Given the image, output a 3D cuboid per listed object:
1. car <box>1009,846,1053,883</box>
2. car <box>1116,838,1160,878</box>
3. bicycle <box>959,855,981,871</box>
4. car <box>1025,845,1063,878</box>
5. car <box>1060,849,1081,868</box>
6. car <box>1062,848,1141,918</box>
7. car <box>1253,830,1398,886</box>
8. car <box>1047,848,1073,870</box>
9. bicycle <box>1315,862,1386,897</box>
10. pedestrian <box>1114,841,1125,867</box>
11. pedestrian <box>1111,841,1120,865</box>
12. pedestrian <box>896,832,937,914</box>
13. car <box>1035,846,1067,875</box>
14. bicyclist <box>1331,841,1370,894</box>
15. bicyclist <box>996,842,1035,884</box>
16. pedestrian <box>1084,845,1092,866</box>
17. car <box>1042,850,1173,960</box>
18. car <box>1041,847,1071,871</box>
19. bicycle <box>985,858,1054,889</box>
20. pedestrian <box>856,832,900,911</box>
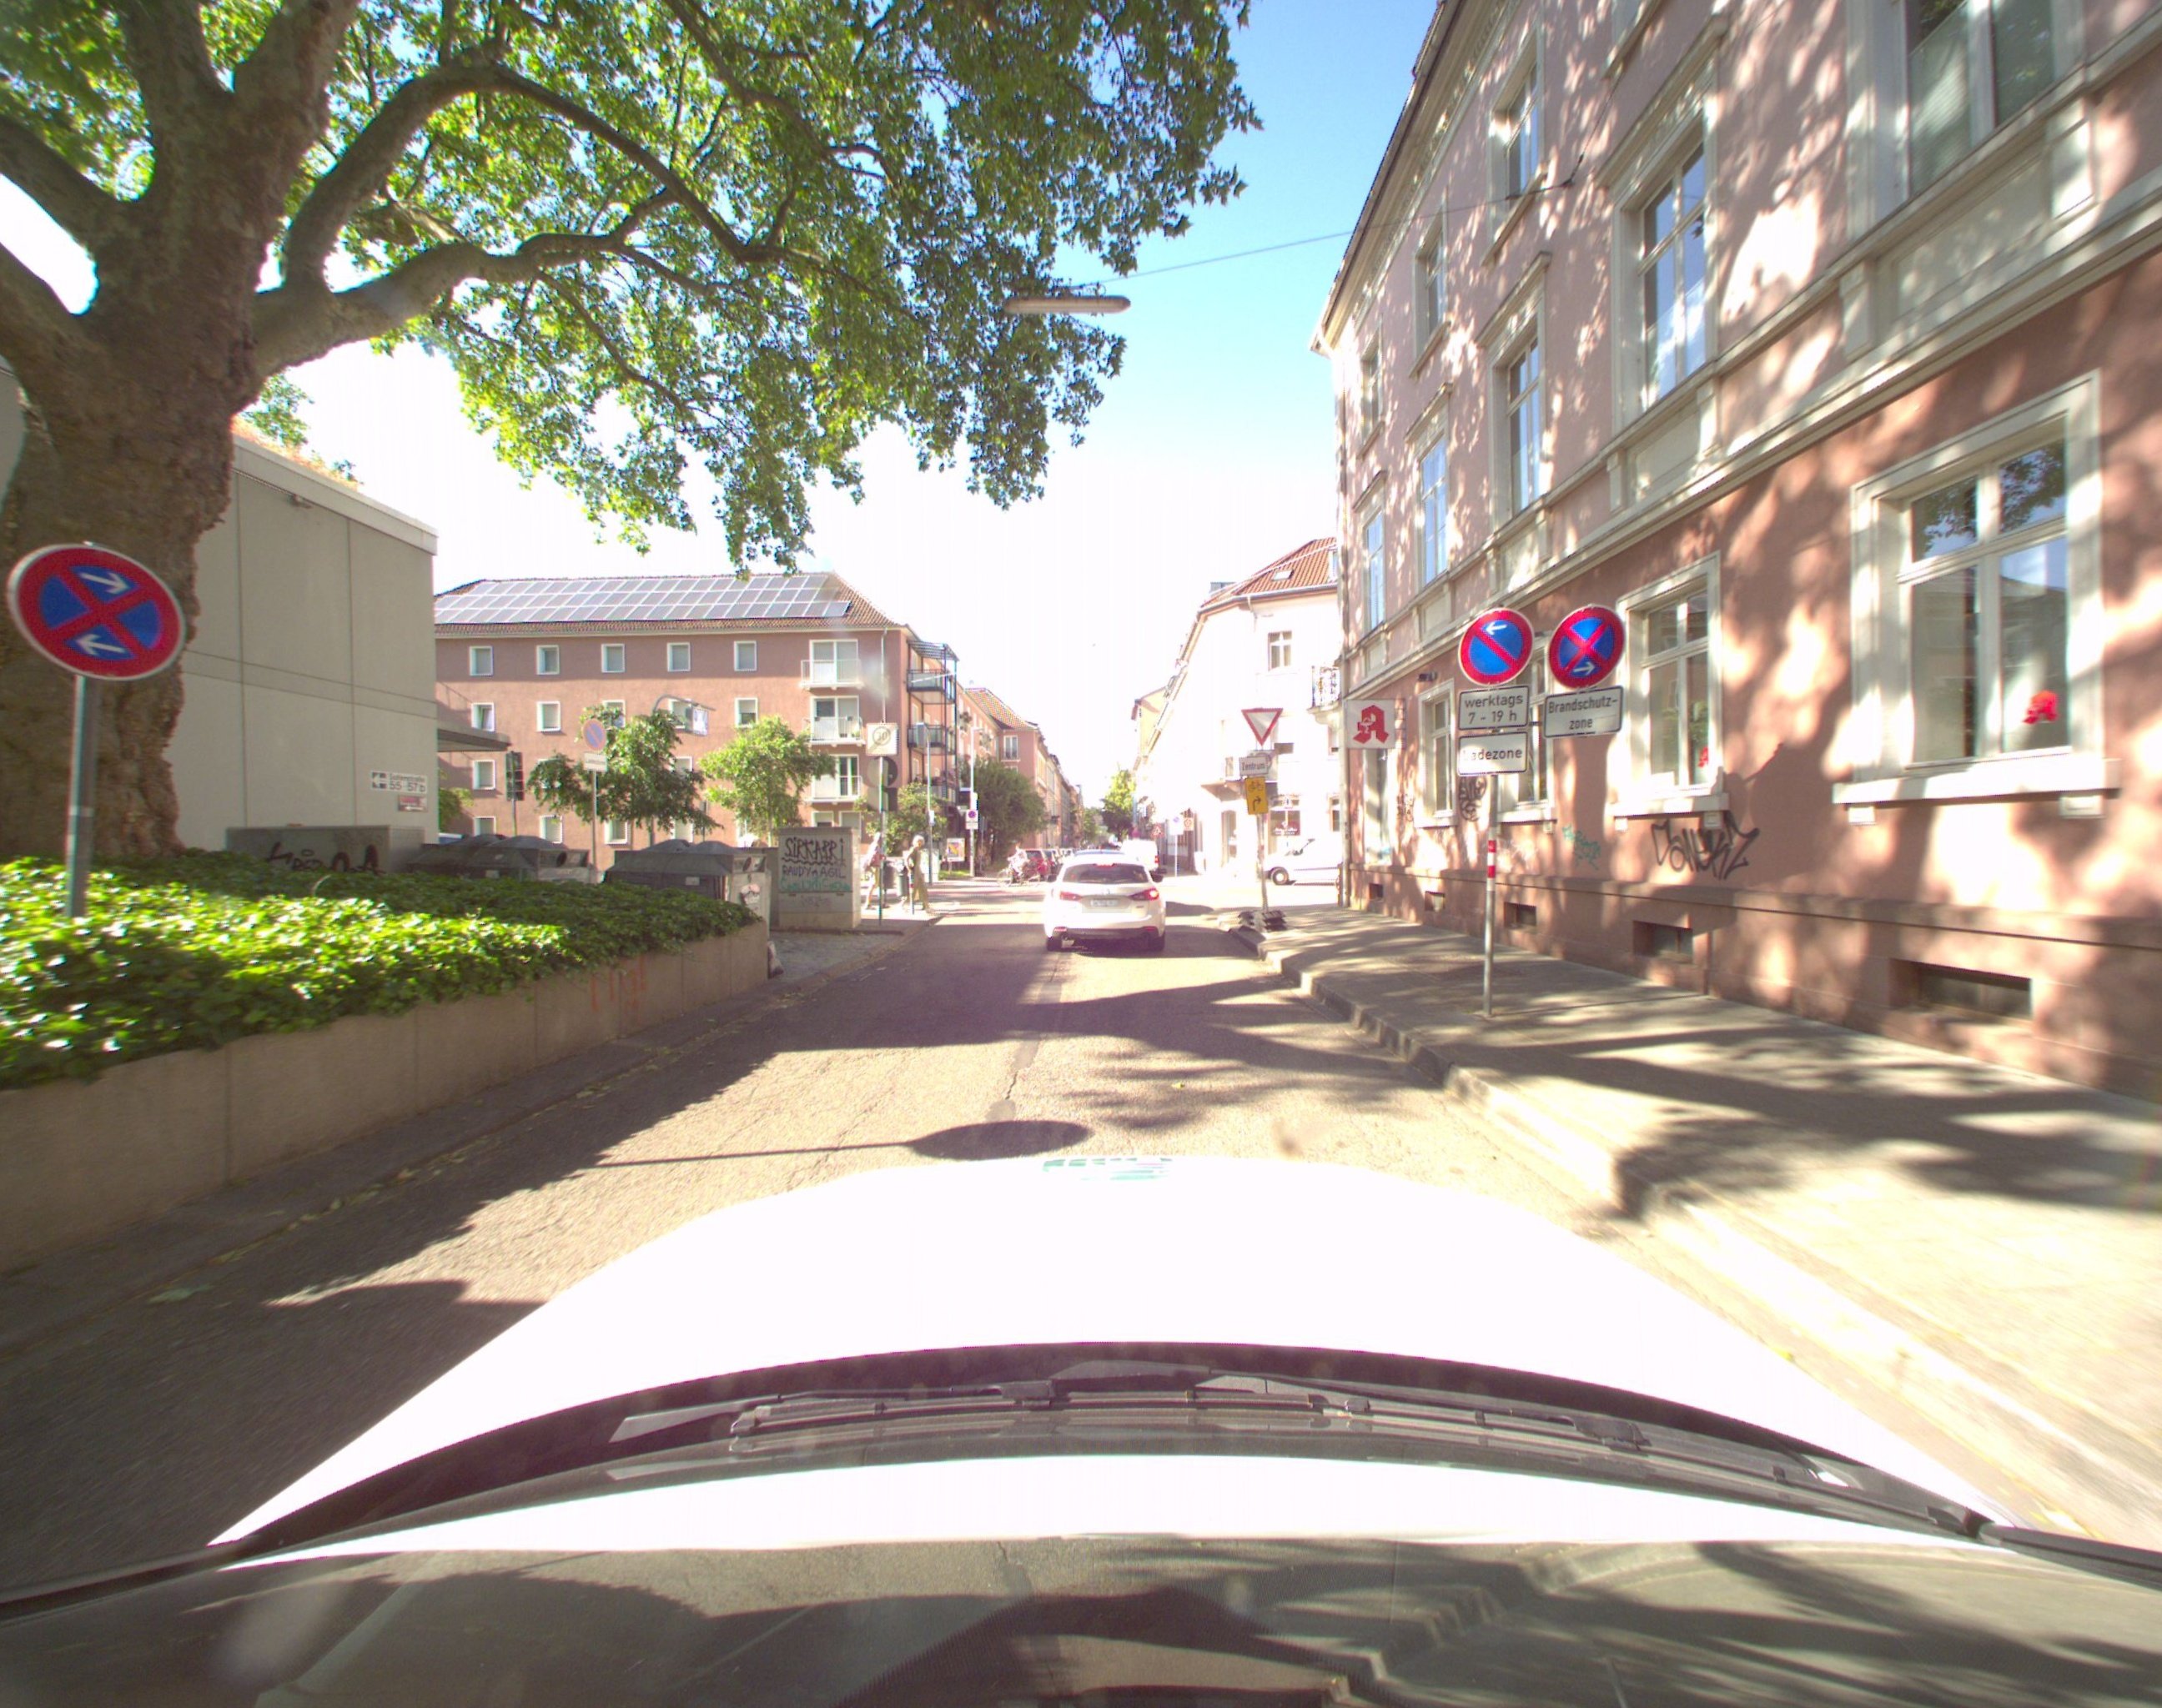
[{"bbox_3d":[-2.297,0.460,38.264,1.763,1.588,3.727,-1,1,1],"label":"car"},{"bbox_3d":[2.851,0.194,41.383,1.937,1.948,4.077,0,0,-1],"label":"car"},{"bbox_3d":[-6.767,0.540,49.643,0.607,0.932,1.896,-1,0,-31],"label":"bicycle"},{"bbox_3d":[-1.937,0.383,43.859,1.713,1.682,3.728,-1,0,2],"label":"car"},{"bbox_3d":[-0.911,0.375,70.475,1.566,1.585,3.613,-1,0,2],"label":"car"},{"bbox_3d":[0.477,0.614,19.462,1.676,1.481,3.661,-1,0,1],"label":"car"},{"bbox_3d":[8.979,0.163,29.936,4.844,1.928,2.011,0,-2,26],"label":"car"},{"bbox_3d":[-1.524,0.366,60.173,1.596,1.477,3.569,-1,0,2],"label":"car"},{"bbox_3d":[7.980,0.743,24.194,1.915,0.986,0.665,-1,0,11],"label":"bicycle"},{"bbox_3d":[2.829,0.009,59.373,0.768,1.918,0.835,-1,-1,2],"label":"pedestrian"},{"bbox_3d":[3.031,-0.088,71.388,0.768,2.118,0.835,-1,-1,2],"label":"pedestrian"},{"bbox_3d":[-3.747,0.430,18.617,0.854,1.815,0.811,1,-1,-12],"label":"pedestrian"},{"bbox_3d":[-1.772,0.368,49.373,1.629,1.656,3.787,-1,0,2],"label":"car"},{"bbox_3d":[7.995,0.401,24.190,0.976,1.553,0.763,-1,-1,12],"label":"bicyclist"},{"bbox_3d":[-2.422,0.332,30.107,1.186,1.516,0.844,-1,-1,16],"label":"bicyclist"},{"bbox_3d":[0.577,0.137,70.429,0.645,1.797,0.639,-1,-1,2],"label":"pedestrian"},{"bbox_3d":[0.408,0.708,13.315,1.817,1.514,3.824,0,0,1],"label":"car"},{"bbox_3d":[-1.684,0.353,56.161,1.713,1.576,3.728,-1,0,2],"label":"car"},{"bbox_3d":[-2.266,0.710,30.088,2.406,1.080,0.794,-1,0,16],"label":"bicycle"},{"bbox_3d":[-4.837,0.406,19.439,0.967,1.838,0.679,1,1,-13],"label":"pedestrian"}]
